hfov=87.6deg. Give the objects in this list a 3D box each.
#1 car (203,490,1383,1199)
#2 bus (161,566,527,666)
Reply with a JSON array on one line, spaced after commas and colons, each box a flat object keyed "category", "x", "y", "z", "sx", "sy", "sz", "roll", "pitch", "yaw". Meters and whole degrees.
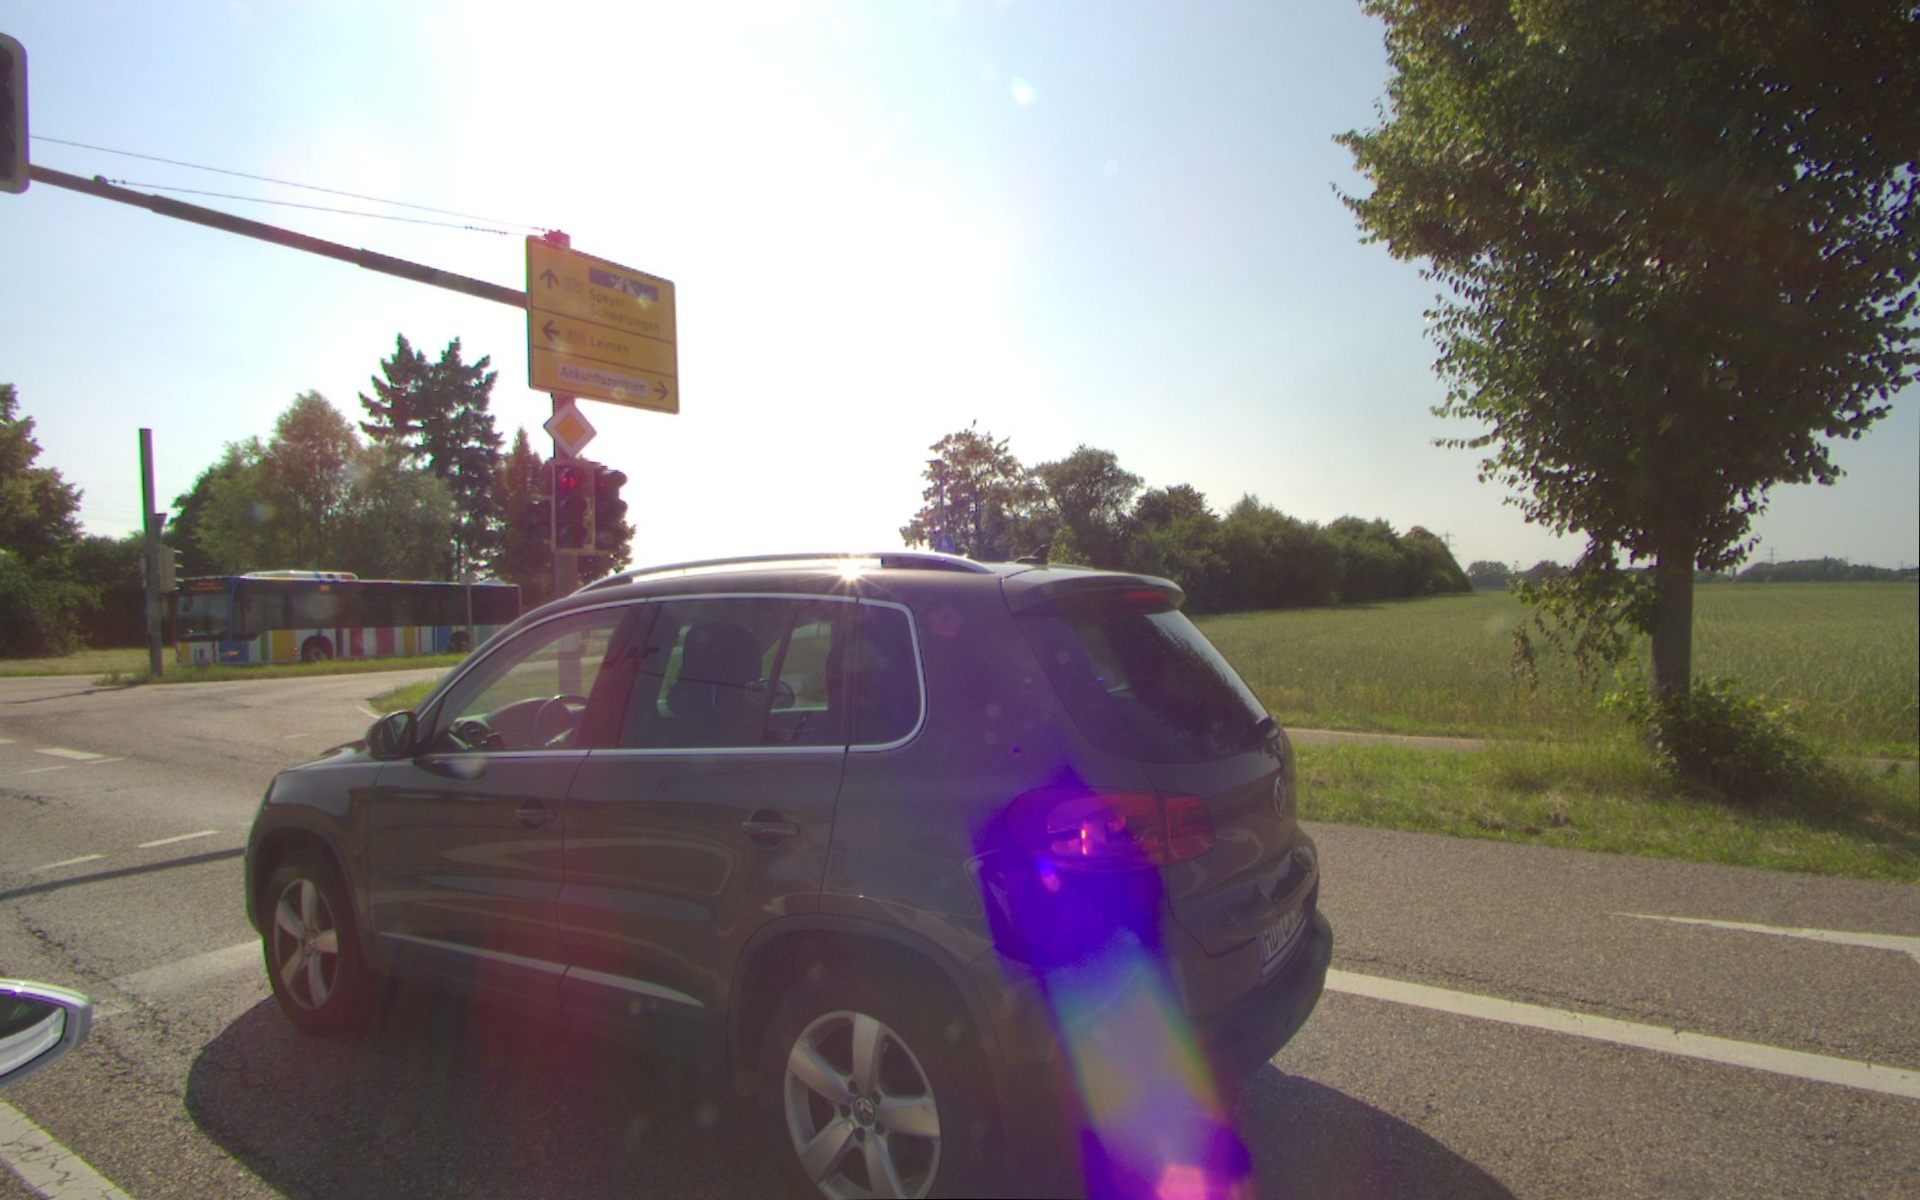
[{"category": "car", "x": -0.795, "y": 0.695, "z": 3.624, "sx": 4.086, "sy": 1.677, "sz": 1.753, "roll": -1, "pitch": -2, "yaw": 32}, {"category": "bus", "x": -20.661, "y": 0.419, "z": 35.174, "sx": 2.889, "sy": 2.916, "sz": 11.955, "roll": -1, "pitch": 0, "yaw": 17}]
